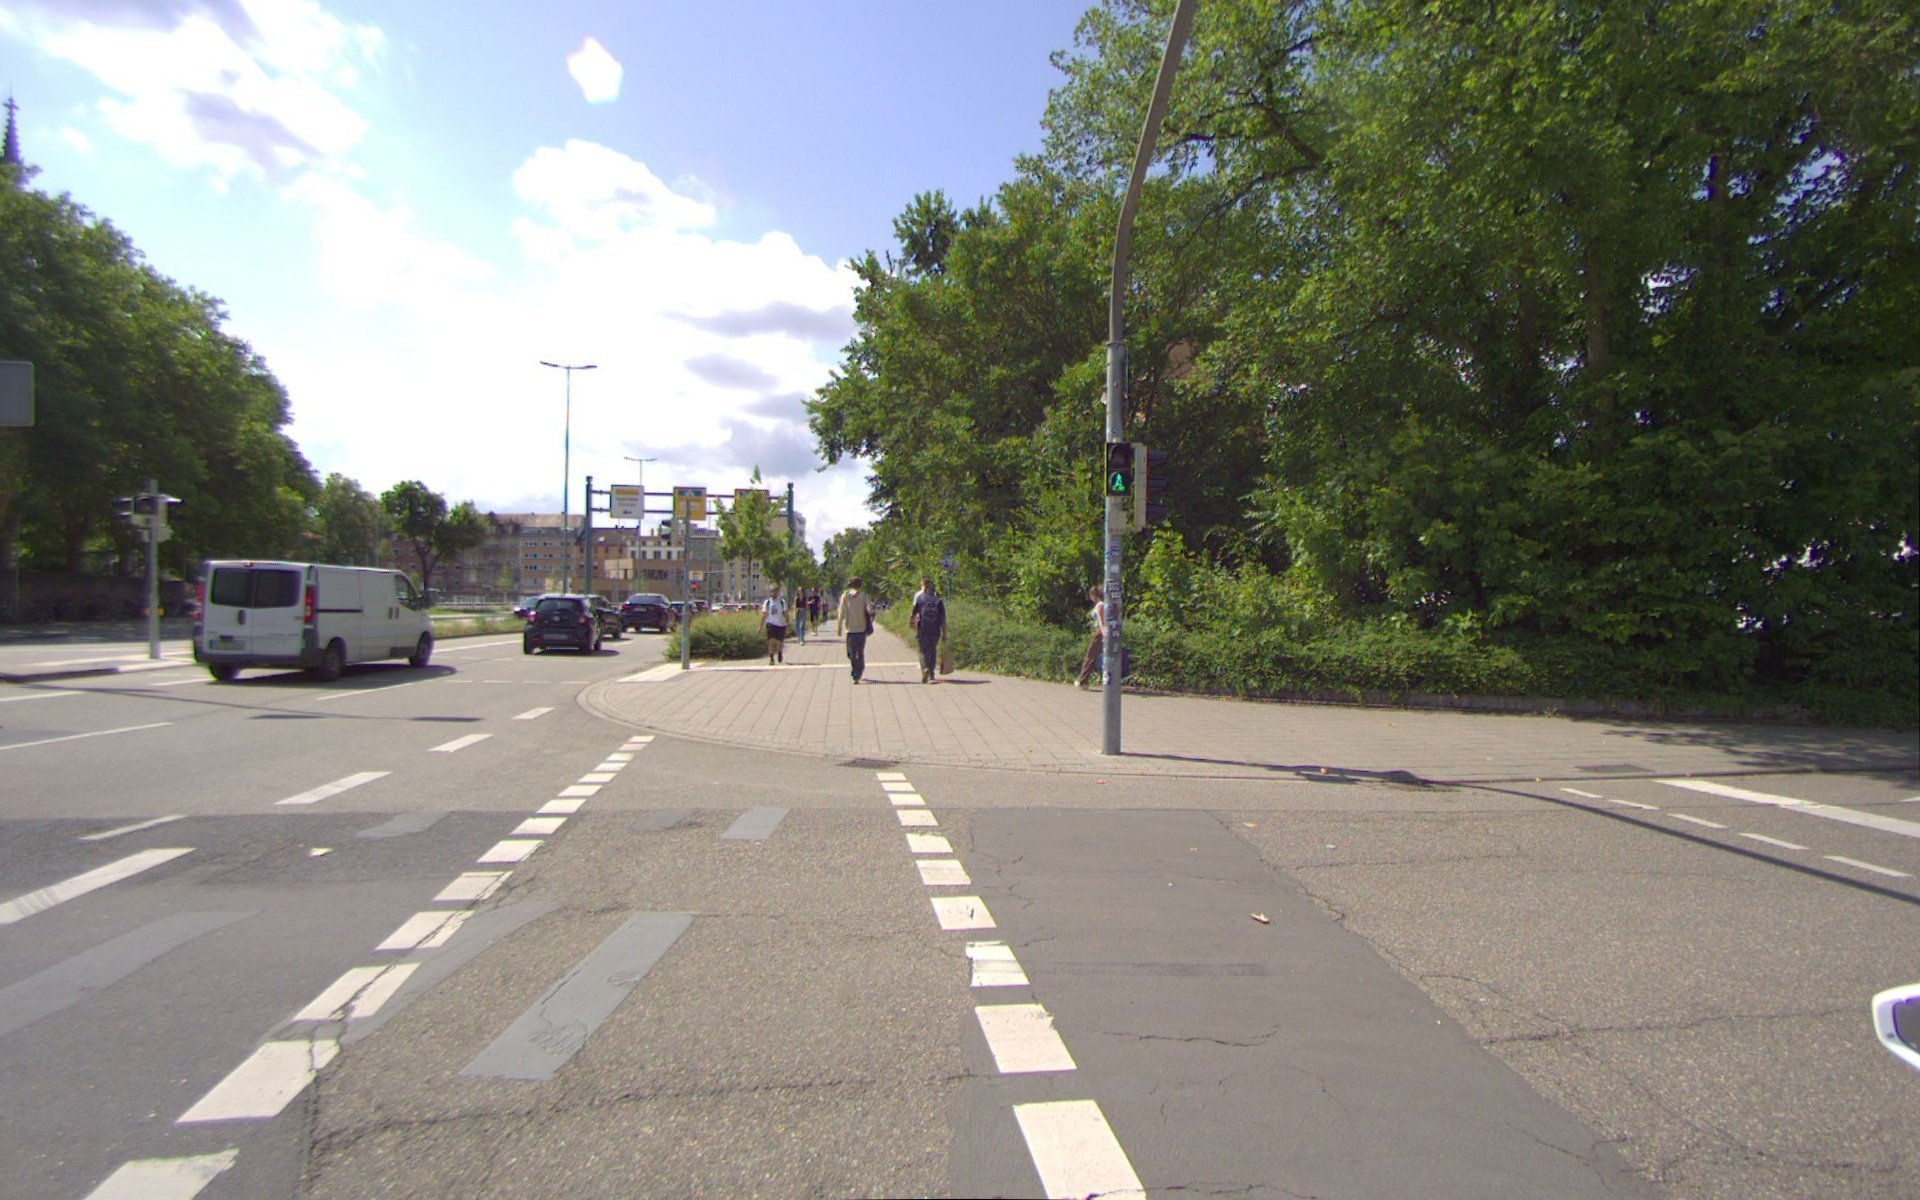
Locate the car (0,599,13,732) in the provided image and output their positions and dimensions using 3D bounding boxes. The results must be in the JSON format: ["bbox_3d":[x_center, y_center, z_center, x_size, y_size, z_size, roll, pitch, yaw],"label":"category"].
[{"bbox_3d":[-10.714,0.666,8.338,1.665,1.405,4.609,1,0,-6],"label":"car"}]

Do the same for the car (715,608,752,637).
[{"bbox_3d":[-11.925,1.146,52.963,1.587,1.430,3.512,1,0,-8],"label":"car"}]

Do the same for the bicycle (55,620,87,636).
[{"bbox_3d":[-40.403,1.261,45.655,0.403,0.691,1.002,1,-1,41],"label":"bicycle"}]

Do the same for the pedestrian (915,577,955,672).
[{"bbox_3d":[-0.507,0.481,19.969,0.661,1.845,0.702,1,0,-10],"label":"pedestrian"}]

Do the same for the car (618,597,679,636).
[{"bbox_3d":[-13.726,0.719,44.499,1.799,1.622,4.388,2,-1,-8],"label":"car"}]

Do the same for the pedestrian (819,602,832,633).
[{"bbox_3d":[-8.885,1.150,66.206,0.826,1.995,0.859,1,0,-10],"label":"pedestrian"}]

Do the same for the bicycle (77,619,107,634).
[{"bbox_3d":[-41.170,1.274,47.645,0.403,0.691,1.002,1,-1,41],"label":"bicycle"}]

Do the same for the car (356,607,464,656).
[{"bbox_3d":[-18.140,1.023,33.319,1.721,1.491,3.802,1,-1,-5],"label":"car"}]

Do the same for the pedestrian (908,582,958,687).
[{"bbox_3d":[-0.448,0.567,17.133,0.782,1.727,1.182,0,0,2],"label":"pedestrian"}]

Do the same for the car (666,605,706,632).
[{"bbox_3d":[-14.523,0.955,53.438,1.587,1.343,3.512,1,0,-8],"label":"car"}]

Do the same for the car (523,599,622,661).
[{"bbox_3d":[-10.290,0.761,26.890,1.586,1.504,3.514,1,0,-6],"label":"car"}]

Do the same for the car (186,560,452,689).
[{"bbox_3d":[-11.477,0.409,18.556,1.975,1.981,5.189,2,-1,-6],"label":"car"}]

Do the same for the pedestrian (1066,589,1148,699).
[{"bbox_3d":[2.297,0.656,15.771,0.846,1.648,1.013,-1,2,-27],"label":"pedestrian"}]

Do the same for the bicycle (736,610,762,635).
[{"bbox_3d":[-18.025,1.913,85.956,1.964,2.040,3.993,2,-1,-10],"label":"bicycle"}]

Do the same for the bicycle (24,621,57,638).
[{"bbox_3d":[-39.228,1.246,42.851,0.403,0.691,1.002,1,-1,41],"label":"bicycle"}]

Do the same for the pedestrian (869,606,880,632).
[{"bbox_3d":[-6.200,1.381,73.060,0.500,1.915,0.553,3,-1,-44],"label":"pedestrian"}]

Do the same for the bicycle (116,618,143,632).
[{"bbox_3d":[-42.970,1.305,51.970,0.403,0.691,1.002,1,-1,41],"label":"bicycle"}]

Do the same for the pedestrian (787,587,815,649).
[{"bbox_3d":[-4.909,0.555,31.019,0.826,1.893,1.017,1,0,-10],"label":"pedestrian"}]

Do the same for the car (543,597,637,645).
[{"bbox_3d":[-13.139,0.711,35.969,1.986,1.550,4.882,2,0,-6],"label":"car"}]

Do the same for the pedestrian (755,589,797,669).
[{"bbox_3d":[-4.076,0.625,22.295,0.838,1.723,0.930,-1,0,-8],"label":"pedestrian"}]

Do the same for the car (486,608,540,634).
[{"bbox_3d":[-26.603,1.253,59.899,1.721,1.491,3.802,1,-1,-5],"label":"car"}]

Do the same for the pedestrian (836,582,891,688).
[{"bbox_3d":[-1.631,0.575,17.110,0.782,1.727,1.182,0,0,2],"label":"pedestrian"}]

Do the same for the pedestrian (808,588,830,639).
[{"bbox_3d":[-5.640,0.536,40.095,0.826,1.995,0.859,1,0,-10],"label":"pedestrian"}]

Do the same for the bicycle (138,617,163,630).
[{"bbox_3d":[-44.826,1.305,55.636,0.403,0.691,1.002,1,-1,41],"label":"bicycle"}]

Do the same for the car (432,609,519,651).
[{"bbox_3d":[-18.559,1.116,38.644,1.721,1.491,3.802,1,-1,-5],"label":"car"}]
